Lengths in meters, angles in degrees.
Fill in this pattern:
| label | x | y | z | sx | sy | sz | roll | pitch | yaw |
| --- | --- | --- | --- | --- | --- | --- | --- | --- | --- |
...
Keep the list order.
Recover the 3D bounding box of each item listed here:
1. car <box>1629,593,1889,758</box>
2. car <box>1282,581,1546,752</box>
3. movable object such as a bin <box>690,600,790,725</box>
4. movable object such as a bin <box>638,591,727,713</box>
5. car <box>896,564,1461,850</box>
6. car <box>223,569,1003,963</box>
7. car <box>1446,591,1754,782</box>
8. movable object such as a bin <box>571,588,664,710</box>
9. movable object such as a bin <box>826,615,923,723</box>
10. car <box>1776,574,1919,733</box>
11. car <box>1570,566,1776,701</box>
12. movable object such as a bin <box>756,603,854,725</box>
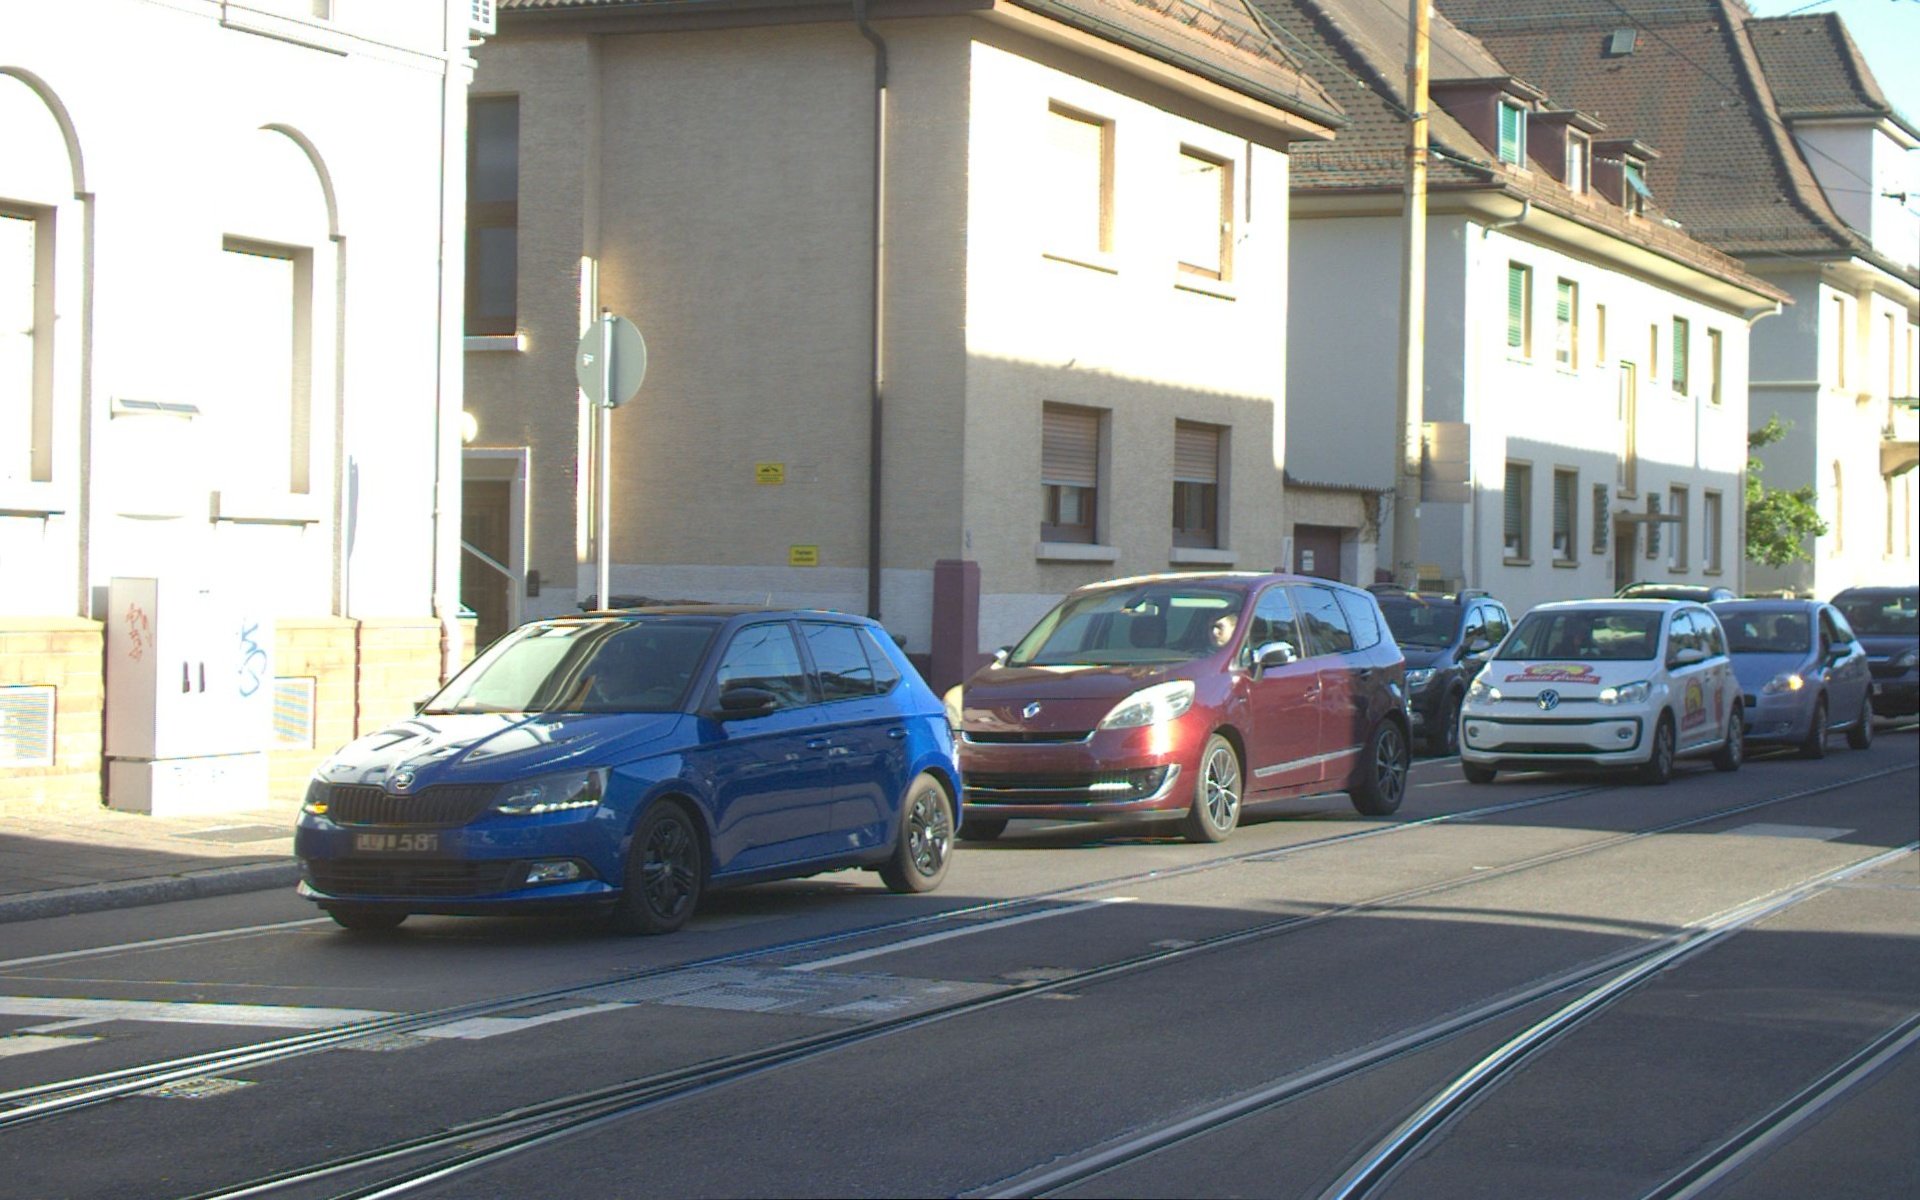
| label | x | y | z | sx | sy | sz | roll | pitch | yaw |
| --- | --- | --- | --- | --- | --- | --- | --- | --- | --- |
| car | 7.683 | 0.679 | 32.791 | 1.619 | 1.456 | 4.070 | -1 | 0 | 25 |
| car | 4.652 | 0.632 | 34.809 | 1.617 | 1.622 | 3.916 | -1 | 0 | 24 |
| movable object such as a bin | -2.058 | 0.576 | 32.199 | 0.643 | 1.107 | 0.671 | 4 | 2 | 24 |
| movable object such as a bin | -2.622 | 0.488 | 32.523 | 0.570 | 1.107 | 0.589 | 4 | 2 | 24 |
| car | 1.524 | 0.601 | 21.821 | 1.741 | 1.605 | 4.707 | -1 | 0 | 29 |
| car | -1.434 | 0.663 | 15.760 | 1.686 | 1.562 | 3.923 | -2 | 0 | 27 |
| car | 5.315 | 0.667 | 28.245 | 1.584 | 1.456 | 3.608 | -1 | 0 | 26 |
| movable object such as a bin | -3.266 | 0.461 | 32.769 | 0.616 | 1.107 | 0.589 | 4 | 2 | 24 |
| movable object such as a bin | -0.789 | 0.633 | 31.753 | 0.658 | 0.941 | 0.581 | 4 | 2 | 24 |
| car | 10.609 | 0.563 | 39.200 | 1.706 | 1.699 | 4.358 | 1 | 0 | 25 |
| car | 9.509 | 0.424 | 45.611 | 1.764 | 1.699 | 4.550 | -1 | 0 | 24 |
| movable object such as a bin | -1.436 | 0.589 | 31.933 | 0.616 | 1.076 | 0.671 | 4 | 2 | 24 |
